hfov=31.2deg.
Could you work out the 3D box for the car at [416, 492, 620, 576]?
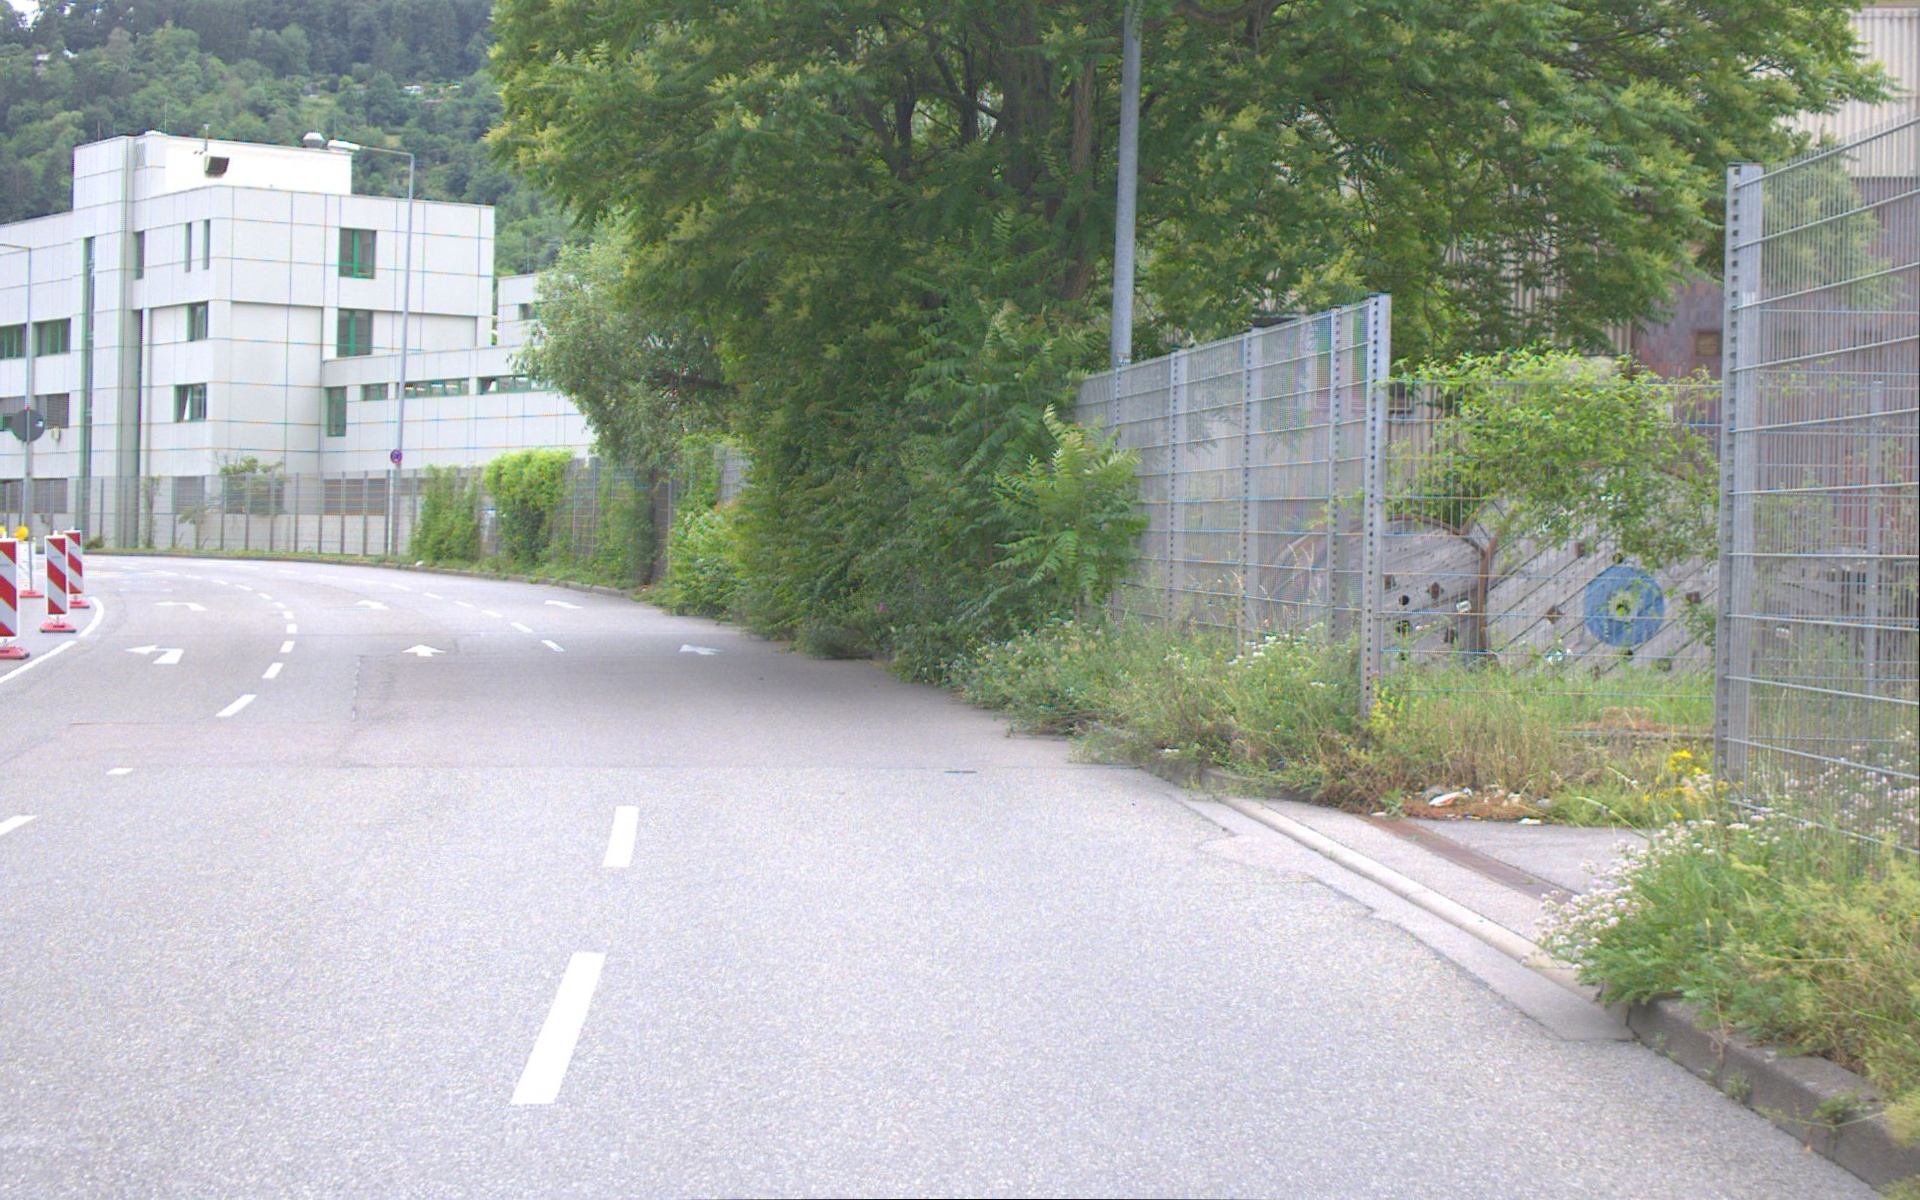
[{"bbox_3d":[-12.990,-1.953,100.815,6.163,2.255,1.996,3,1,36],"label":"car"}]
